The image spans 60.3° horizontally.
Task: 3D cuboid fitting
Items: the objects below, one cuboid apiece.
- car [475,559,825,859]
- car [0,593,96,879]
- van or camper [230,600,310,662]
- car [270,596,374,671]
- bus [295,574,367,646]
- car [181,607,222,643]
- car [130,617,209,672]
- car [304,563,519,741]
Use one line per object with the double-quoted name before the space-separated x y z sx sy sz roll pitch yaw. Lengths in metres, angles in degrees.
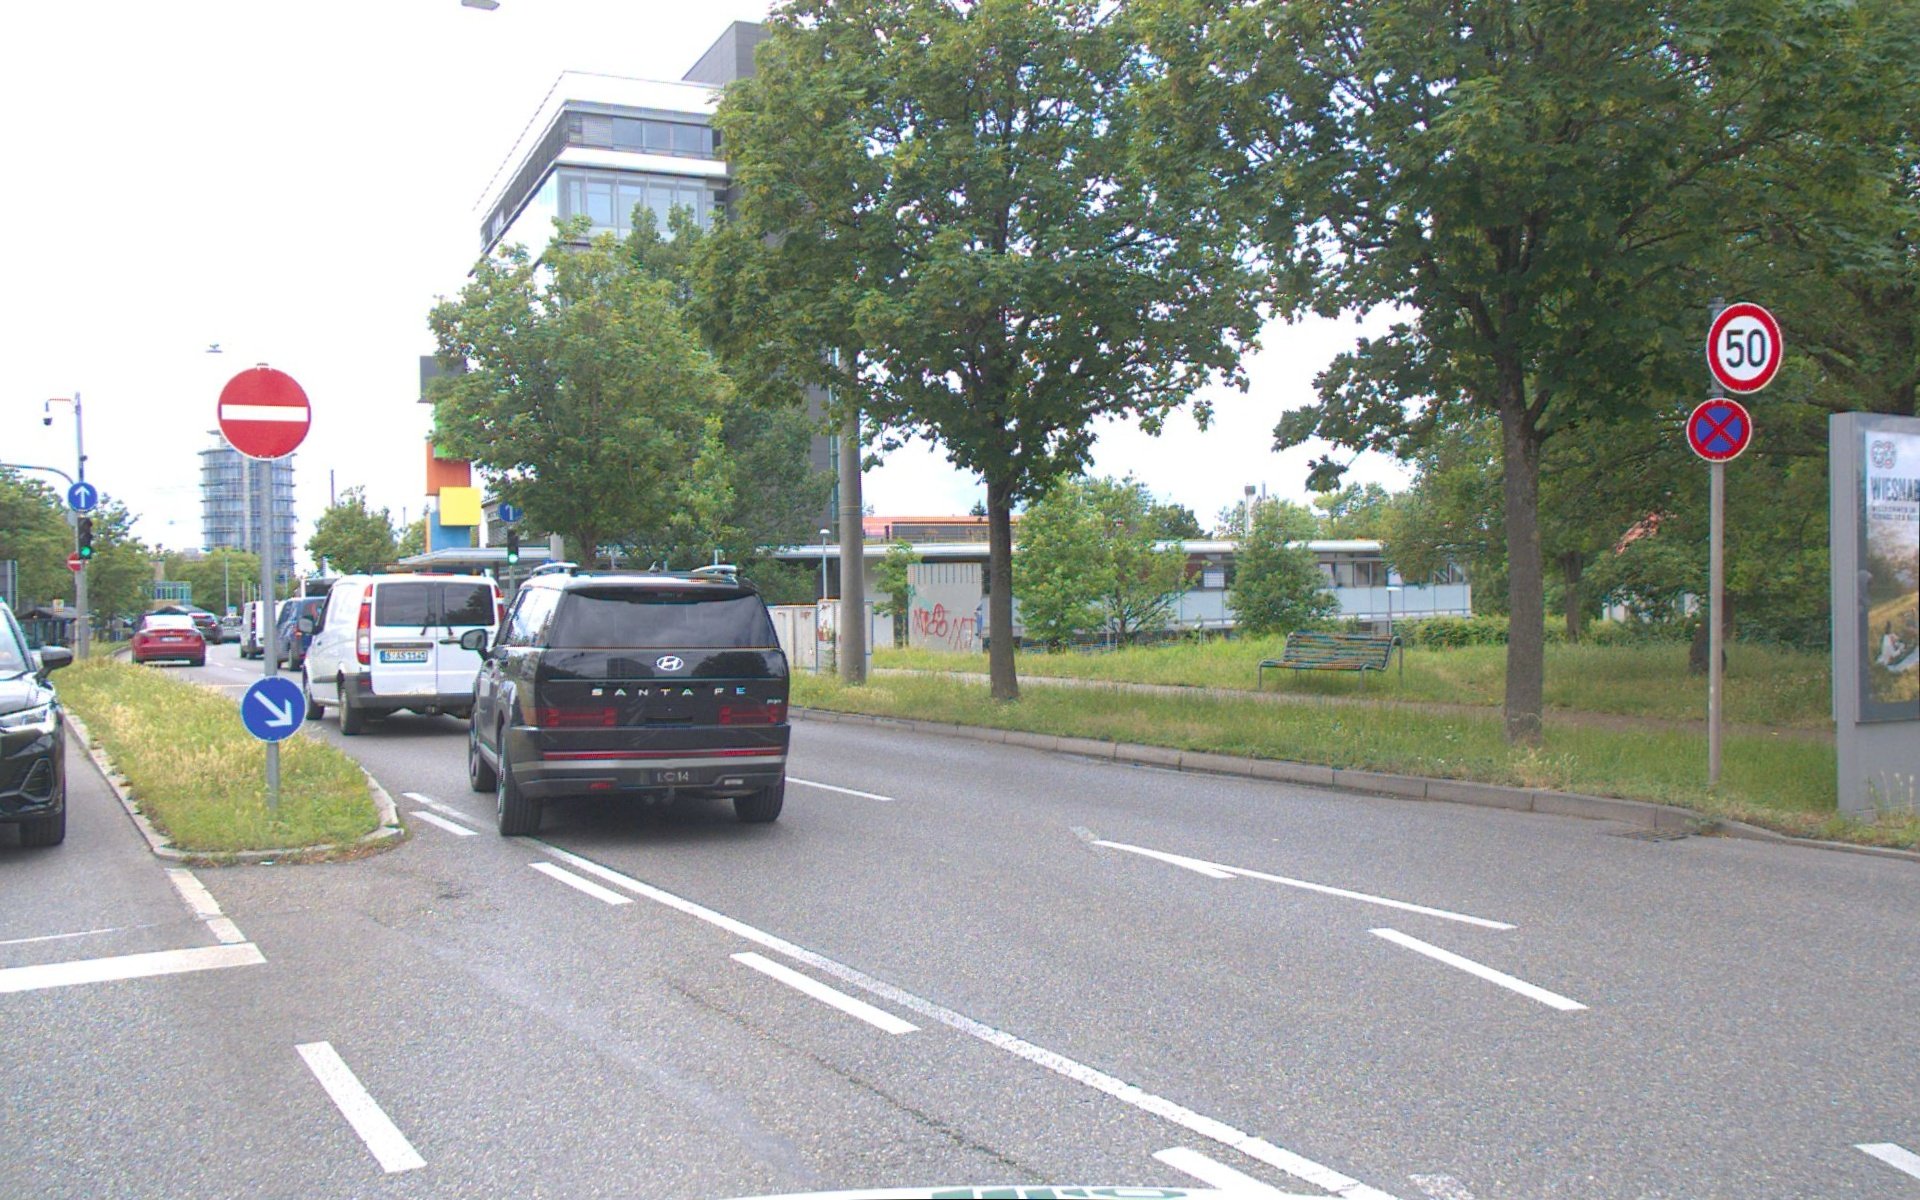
"car" -2.458 0.640 12.129 1.874 1.762 4.421 0 0 -20
"car" -6.945 0.760 10.958 1.870 1.592 4.348 0 1 -32
"van or camper" -23.709 1.027 56.746 1.973 1.951 4.364 -1 1 -30
"car" -16.989 0.837 43.919 1.882 1.891 4.661 0 0 -30
"bus" -30.473 0.524 79.913 2.926 3.171 9.180 -3 0 -22
"car" -40.767 1.324 88.944 1.877 1.891 4.675 0 0 -23
"car" -22.947 1.252 47.941 1.852 1.443 4.400 0 0 -29
"car" -7.106 0.588 21.119 1.880 2.003 4.593 0 0 -28
